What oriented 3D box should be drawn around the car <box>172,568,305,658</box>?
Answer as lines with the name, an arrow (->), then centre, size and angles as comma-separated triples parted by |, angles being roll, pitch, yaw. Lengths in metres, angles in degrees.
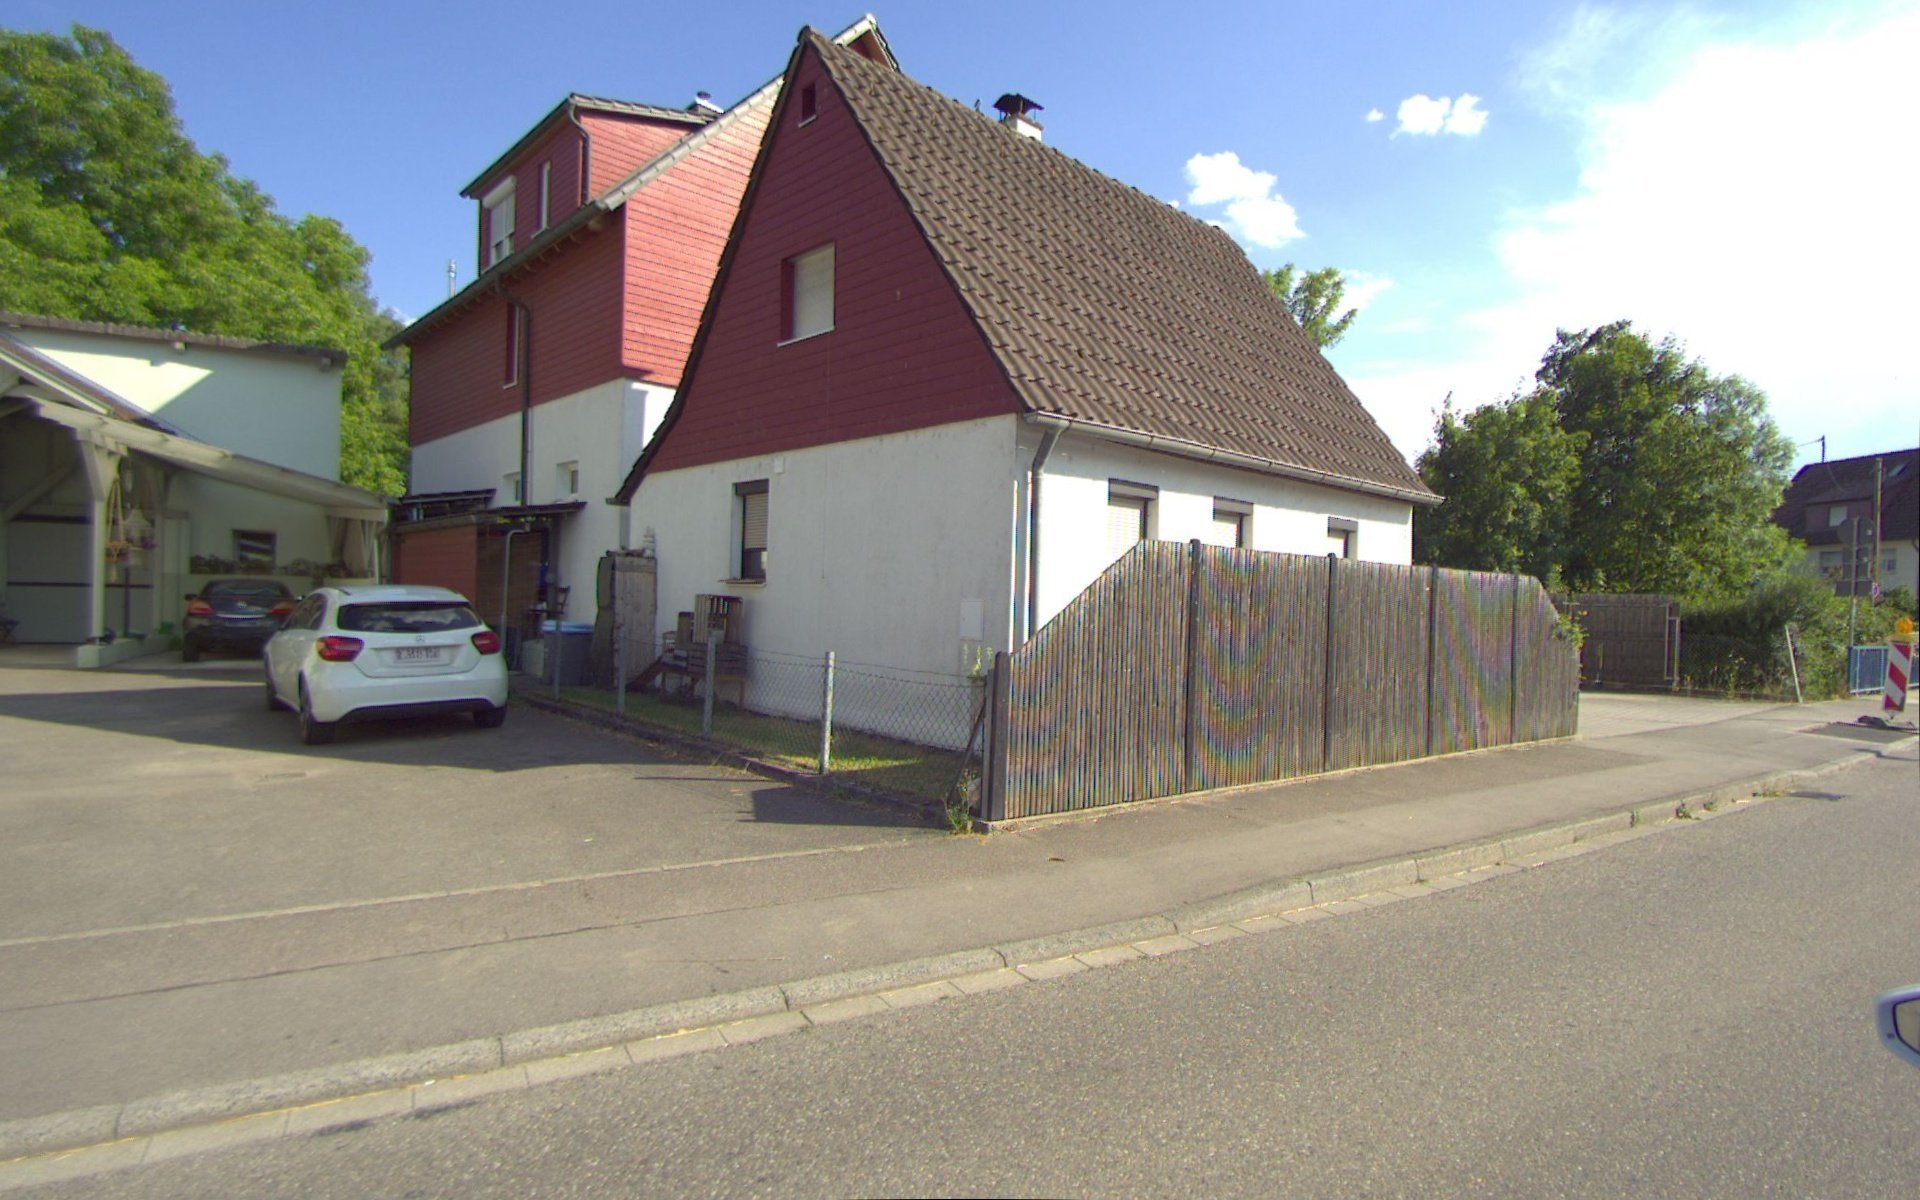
car -> -13.143, 0.178, 18.214 | 1.600, 1.431, 3.849 | 1, 1, -41

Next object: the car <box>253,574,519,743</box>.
car -> -6.301, 0.482, 10.822 | 1.804, 1.431, 3.849 | 0, 2, -41
